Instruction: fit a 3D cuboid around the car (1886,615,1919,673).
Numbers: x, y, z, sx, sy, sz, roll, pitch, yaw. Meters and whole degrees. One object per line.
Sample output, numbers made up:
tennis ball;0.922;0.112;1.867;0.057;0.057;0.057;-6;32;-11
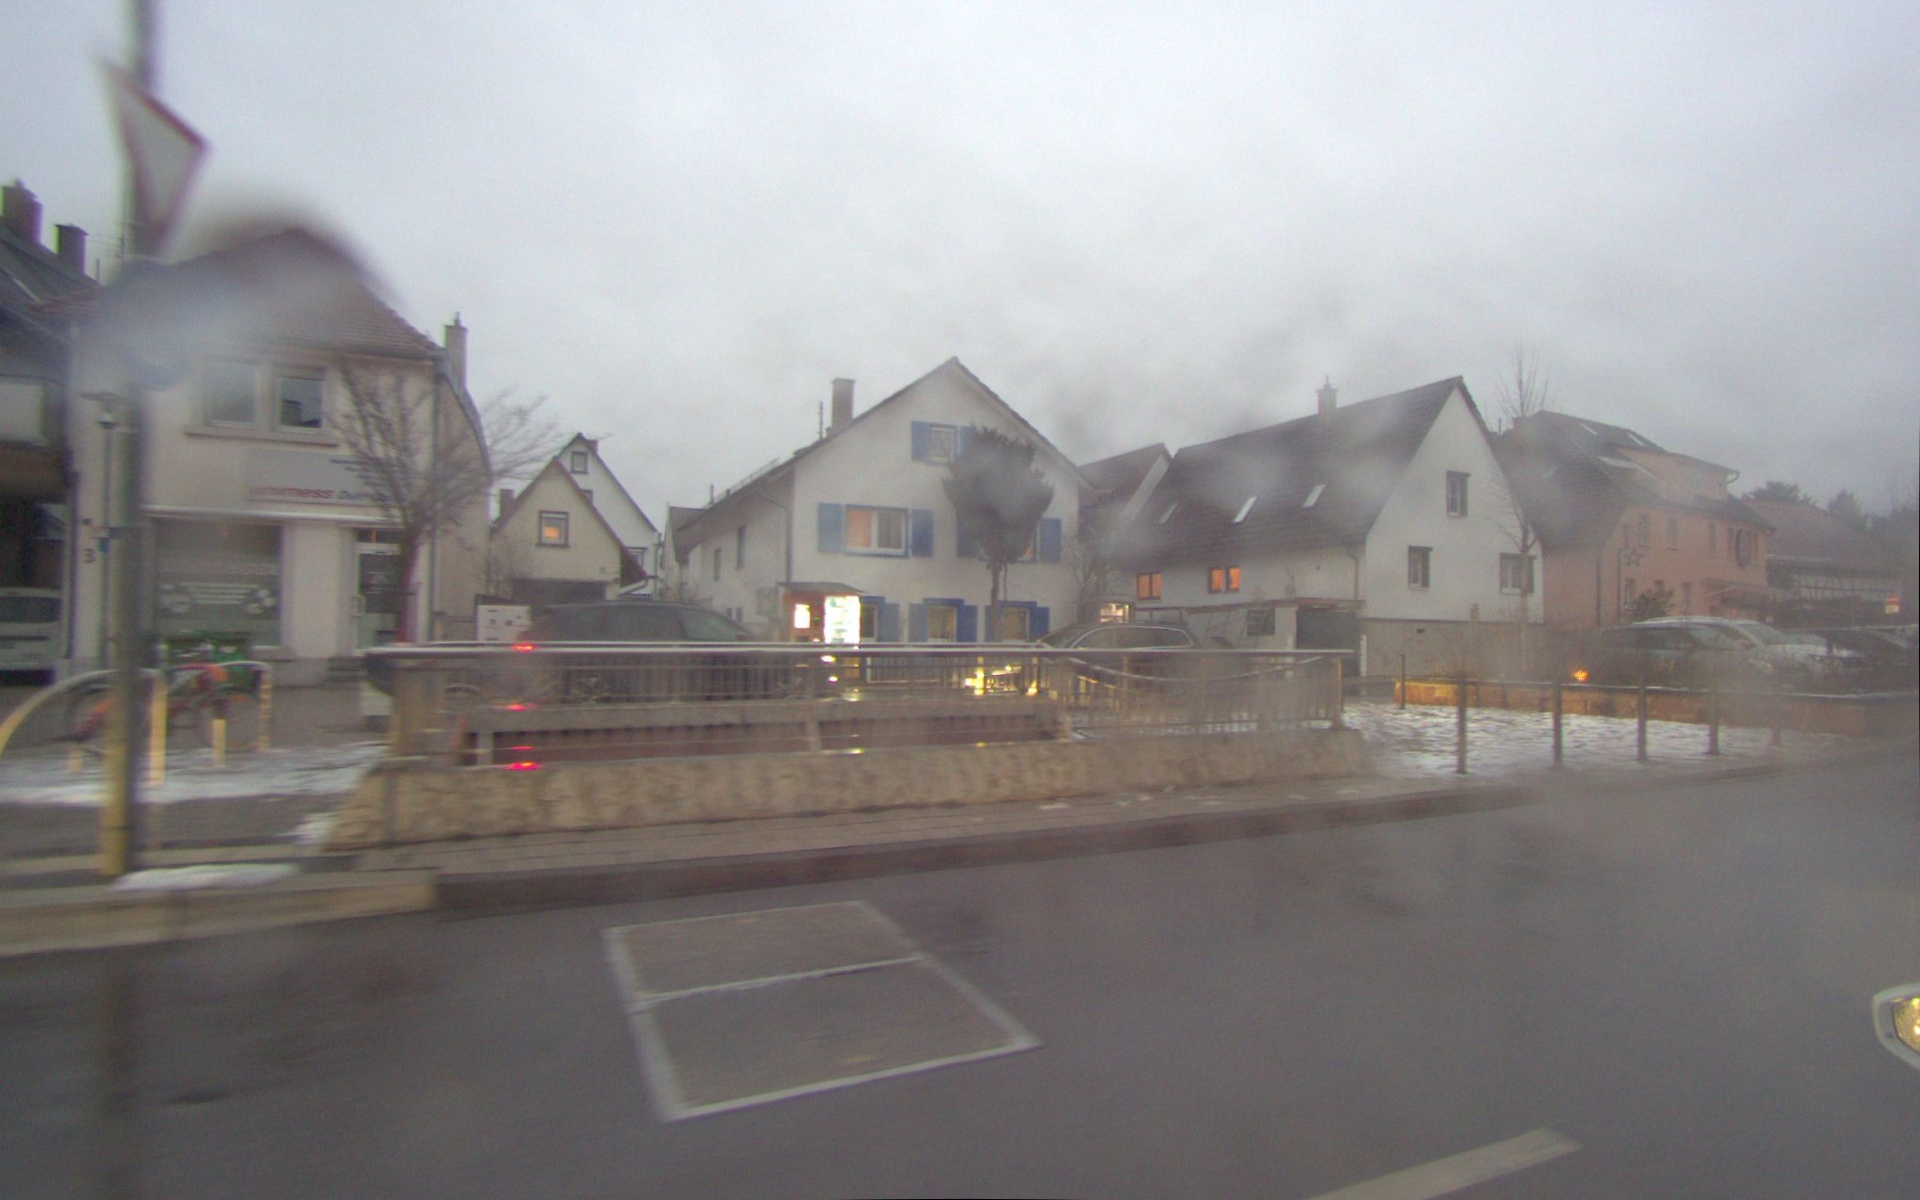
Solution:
car;29.810;1.320;28.698;1.978;1.689;4.600;2;-1;-32

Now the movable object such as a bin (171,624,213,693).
movable object such as a bin;-12.936;0.988;16.933;0.447;1.135;0.286;4;-1;-25

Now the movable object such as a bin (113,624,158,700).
movable object such as a bin;-13.641;1.017;16.618;0.447;1.225;0.286;4;-1;-25

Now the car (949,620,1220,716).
car;2.226;1.143;17.626;4.514;1.502;1.796;1;-3;-28

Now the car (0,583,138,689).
car;-17.574;0.677;19.444;1.491;1.877;3.411;2;-2;-21

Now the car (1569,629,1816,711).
car;13.663;1.247;18.926;1.582;1.390;3.428;1;-2;-30

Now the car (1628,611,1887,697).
car;16.009;1.031;20.384;1.690;1.543;3.785;2;-1;-23

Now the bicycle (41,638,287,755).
bicycle;-7.309;0.878;9.290;1.709;1.023;0.470;1;-2;-14

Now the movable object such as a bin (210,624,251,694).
movable object such as a bin;-12.453;1.004;17.154;0.447;1.157;0.286;4;-1;-25

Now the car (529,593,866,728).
car;-3.778;0.842;14.544;4.501;1.723;1.751;1;-3;-25
